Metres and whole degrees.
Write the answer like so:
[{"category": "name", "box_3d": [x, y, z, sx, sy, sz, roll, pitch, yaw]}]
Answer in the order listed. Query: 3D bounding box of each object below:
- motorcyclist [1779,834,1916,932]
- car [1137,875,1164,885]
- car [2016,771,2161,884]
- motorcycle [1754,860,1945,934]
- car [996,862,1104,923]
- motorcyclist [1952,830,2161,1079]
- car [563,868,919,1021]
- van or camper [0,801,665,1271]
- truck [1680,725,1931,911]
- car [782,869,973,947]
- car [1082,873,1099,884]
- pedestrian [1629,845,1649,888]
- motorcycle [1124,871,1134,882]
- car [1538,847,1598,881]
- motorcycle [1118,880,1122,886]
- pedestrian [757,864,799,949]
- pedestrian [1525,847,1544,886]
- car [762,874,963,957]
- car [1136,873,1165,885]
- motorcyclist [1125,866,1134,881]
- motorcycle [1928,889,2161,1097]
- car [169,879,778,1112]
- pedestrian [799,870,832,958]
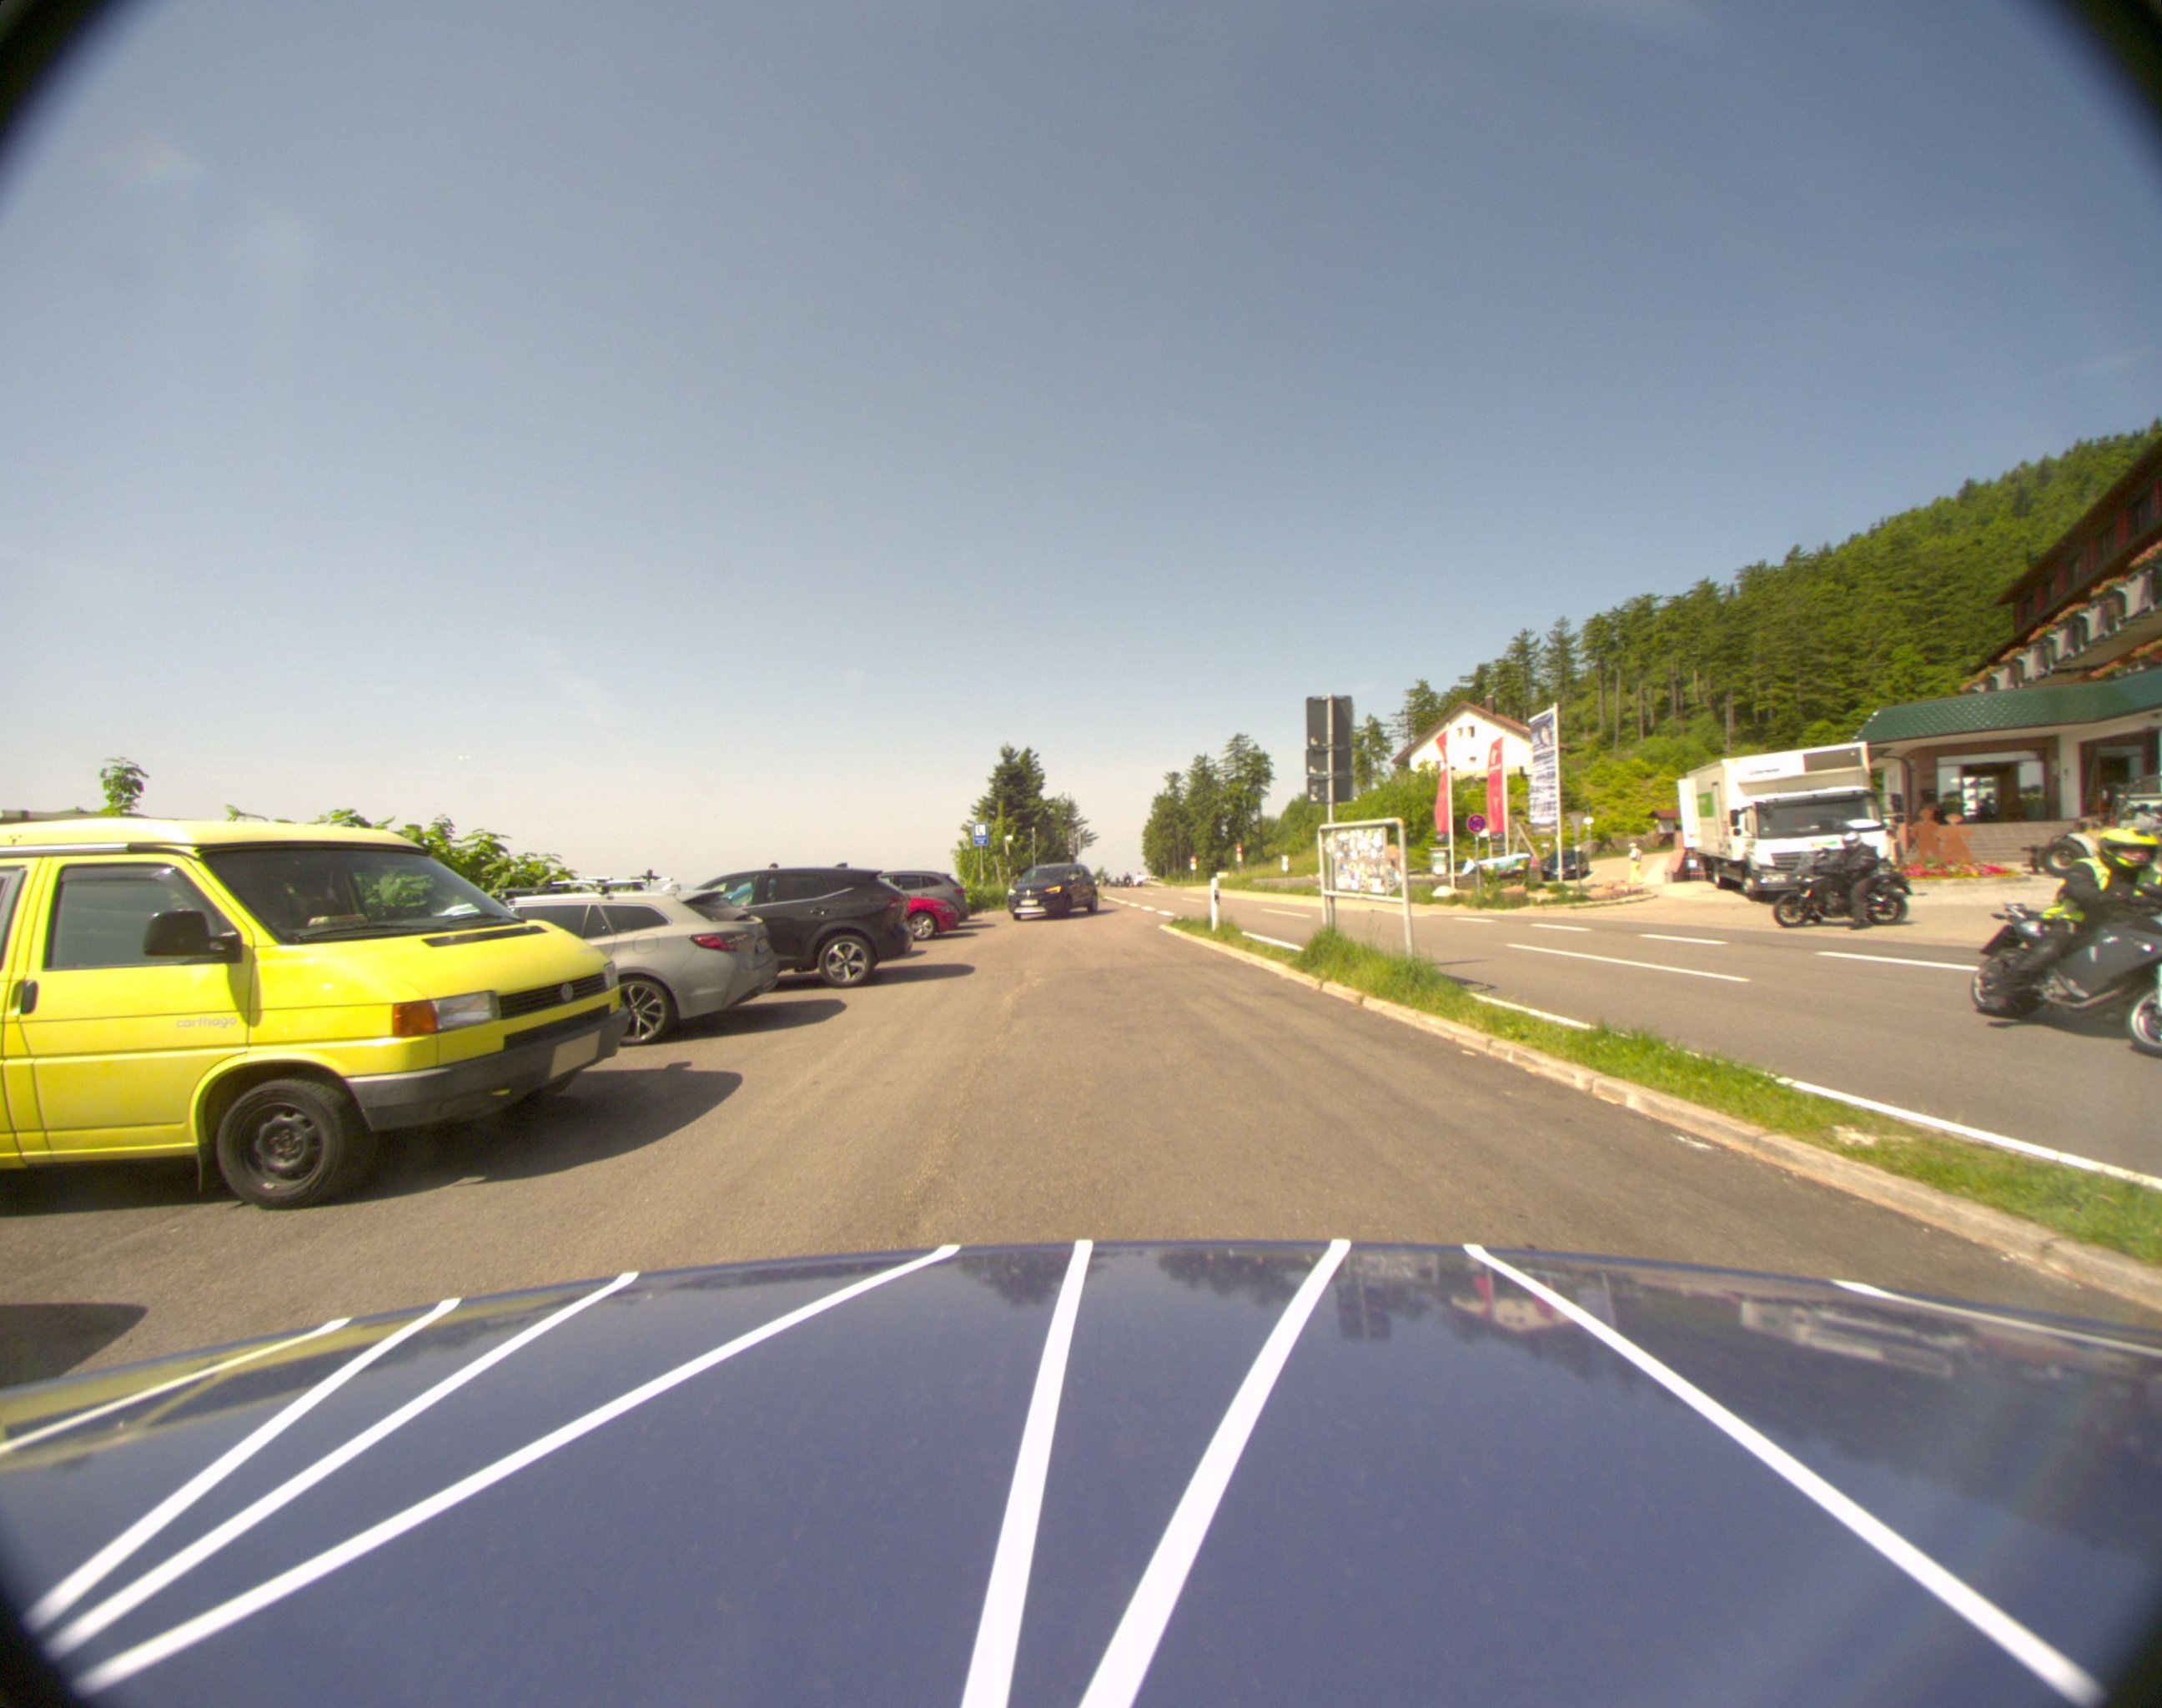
[{"category": "motorcyclist", "box_3d": [14.006, 0.533, 13.948, 1.449, 1.707, 0.927, -3, -1, 17]}, {"category": "car", "box_3d": [10.690, 3.997, 117.236, 3.929, 1.365, 1.932, 2, -1, -3]}, {"category": "car", "box_3d": [24.930, -0.616, 17.418, 1.998, 2.482, 3.999, -1, 2, 0]}, {"category": "motorcycle", "box_3d": [14.022, 0.787, 13.957, 2.273, 1.249, 0.880, -3, -1, 17]}, {"category": "car", "box_3d": [-0.818, 1.104, 23.032, 1.982, 1.607, 4.155, -2, 0, 17]}, {"category": "motorcyclist", "box_3d": [7.614, 0.671, 5.655, 1.026, 1.665, 1.295, -2, 0, 25]}, {"category": "car", "box_3d": [-4.321, 1.101, 10.335, 4.000, 1.604, 1.915, -3, 0, -11]}, {"category": "van or camper", "box_3d": [-5.557, 0.959, 4.393, 5.103, 2.001, 1.882, -4, 0, -1]}, {"category": "truck", "box_3d": [19.202, -0.886, 20.925, 3.062, 3.949, 8.786, -4, 0, 32]}, {"category": "car", "box_3d": [-5.136, 1.313, 19.417, 4.413, 1.559, 1.905, -3, 0, -16]}, {"category": "car", "box_3d": [1.270, 3.243, 100.997, 1.781, 1.448, 3.998, -1, -1, -6]}, {"category": "pedestrian", "box_3d": [22.170, 0.488, 30.188, 0.574, 1.679, 0.654, -1, 0, 31]}, {"category": "motorcycle", "box_3d": [5.337, 2.483, 84.587, 0.813, 1.258, 2.327, 0, -1, -2]}, {"category": "car", "box_3d": [25.737, 0.498, 40.113, 1.874, 1.347, 4.006, -1, 5, 44]}, {"category": "motorcycle", "box_3d": [7.788, 5.701, 151.054, 0.841, 1.089, 2.184, -1, -1, 4]}, {"category": "pedestrian", "box_3d": [-6.985, 1.189, 17.552, 0.610, 1.889, 0.678, -4, 1, -7]}, {"category": "pedestrian", "box_3d": [20.527, 0.561, 34.382, 0.697, 1.706, 0.800, -1, 0, 31]}, {"category": "car", "box_3d": [-4.768, 1.295, 16.893, 4.002, 1.500, 1.840, -2, -1, -15]}, {"category": "car", "box_3d": [11.760, 4.205, 128.509, 4.730, 1.870, 1.932, 2, -1, -3]}, {"category": "motorcyclist", "box_3d": [5.368, 2.181, 84.447, 0.881, 1.632, 1.299, 0, -1, -2]}, {"category": "motorcycle", "box_3d": [7.596, 0.920, 5.691, 0.822, 1.170, 2.290, -2, 0, 25]}, {"category": "car", "box_3d": [-5.307, 1.154, 7.303, 4.166, 1.579, 1.703, -3, 0, -14]}, {"category": "pedestrian", "box_3d": [-5.376, 1.207, 15.412, 0.505, 1.714, 0.566, -4, 1, -18]}]
